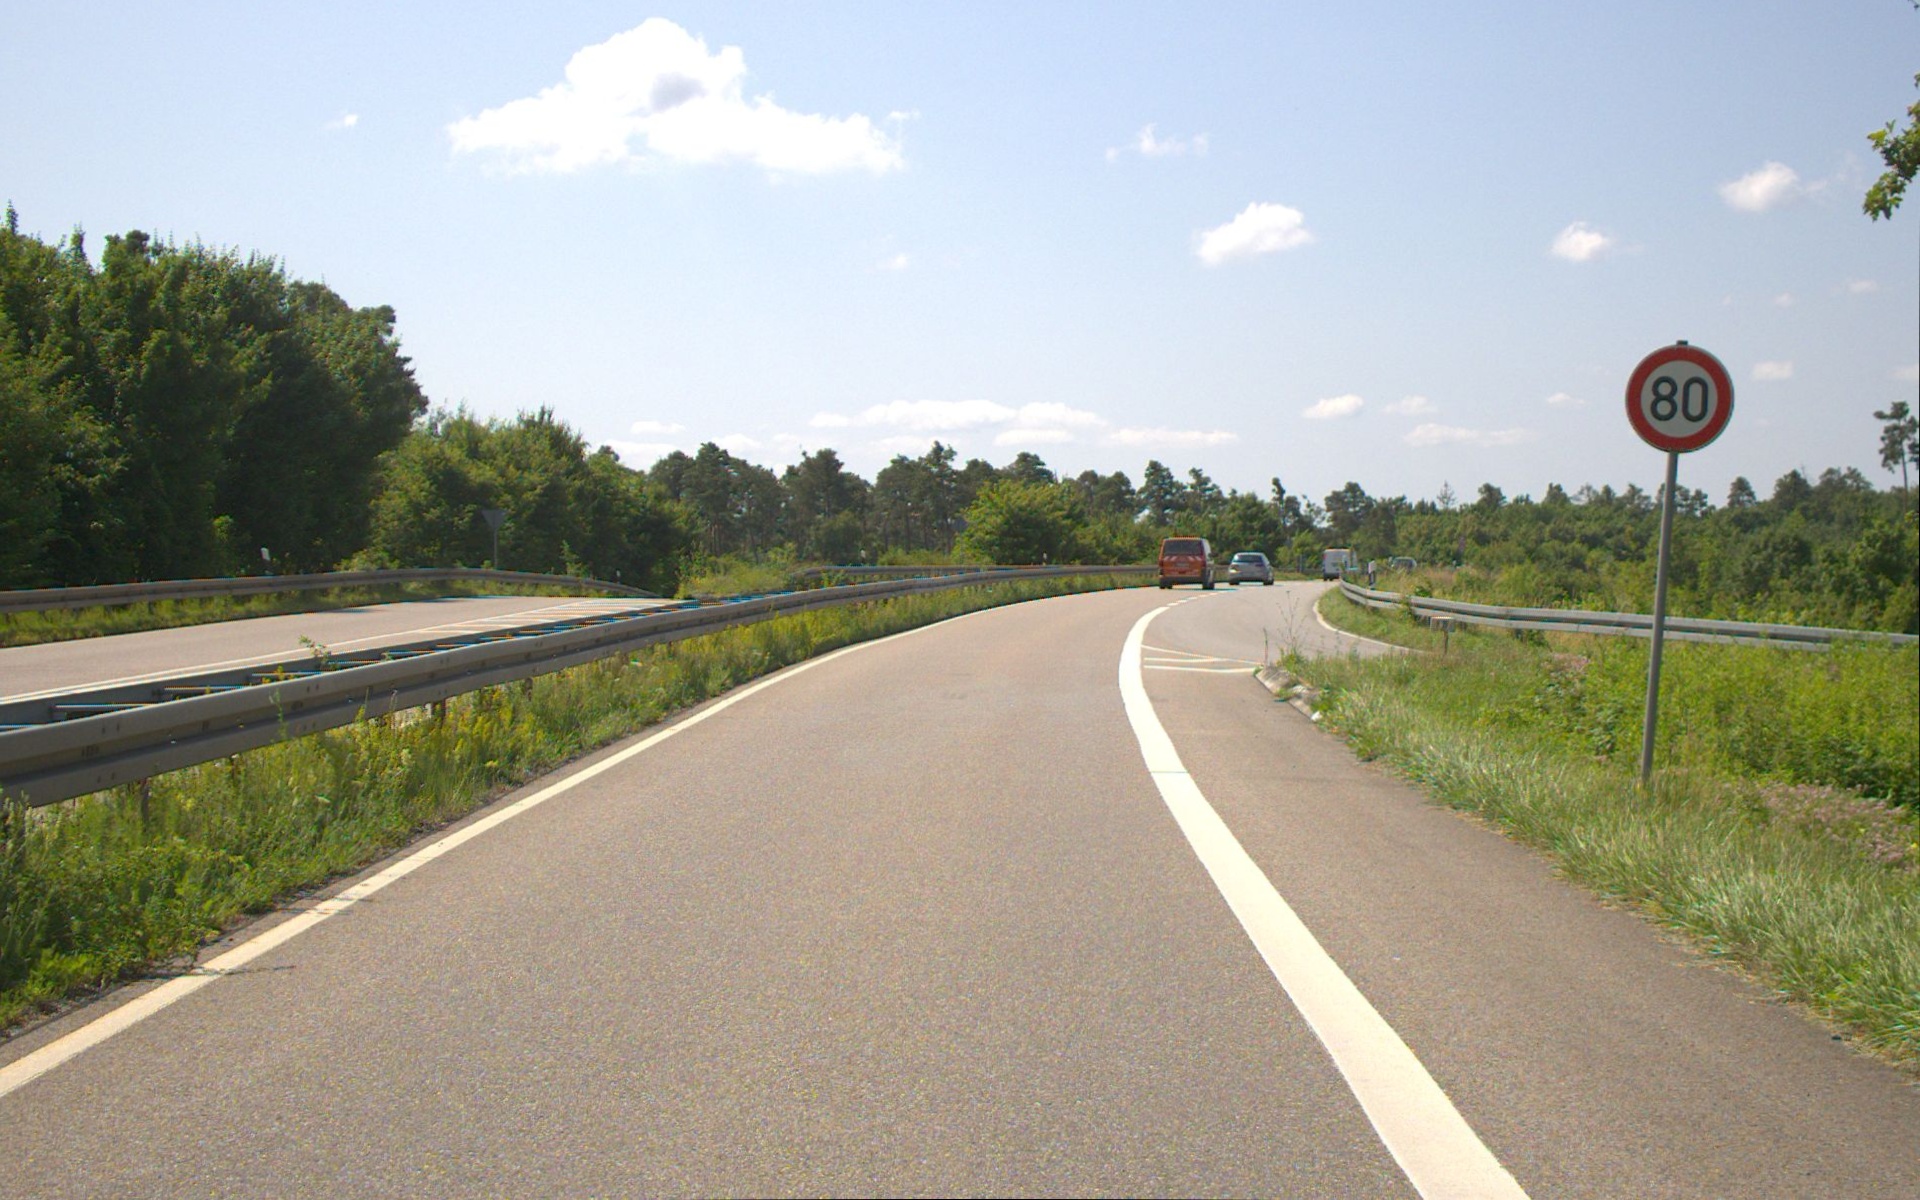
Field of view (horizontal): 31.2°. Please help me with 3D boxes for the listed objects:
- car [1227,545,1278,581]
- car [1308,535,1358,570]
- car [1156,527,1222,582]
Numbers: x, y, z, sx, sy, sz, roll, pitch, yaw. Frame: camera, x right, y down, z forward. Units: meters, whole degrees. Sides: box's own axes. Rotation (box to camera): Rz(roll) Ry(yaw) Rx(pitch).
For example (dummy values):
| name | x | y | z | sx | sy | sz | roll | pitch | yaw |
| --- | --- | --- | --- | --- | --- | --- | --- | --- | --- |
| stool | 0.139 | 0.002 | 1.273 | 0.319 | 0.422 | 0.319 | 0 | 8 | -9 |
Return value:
| name | x | y | z | sx | sy | sz | roll | pitch | yaw |
| --- | --- | --- | --- | --- | --- | --- | --- | --- | --- |
| car | 13.138 | -1.649 | 154.205 | 2.008 | 1.489 | 4.237 | 1 | 0 | 8 |
| car | 22.195 | -2.831 | 204.591 | 2.186 | 1.948 | 5.800 | 1 | 0 | 14 |
| car | 8.799 | -1.724 | 131.663 | 2.078 | 1.986 | 5.110 | 1 | 0 | 8 |
